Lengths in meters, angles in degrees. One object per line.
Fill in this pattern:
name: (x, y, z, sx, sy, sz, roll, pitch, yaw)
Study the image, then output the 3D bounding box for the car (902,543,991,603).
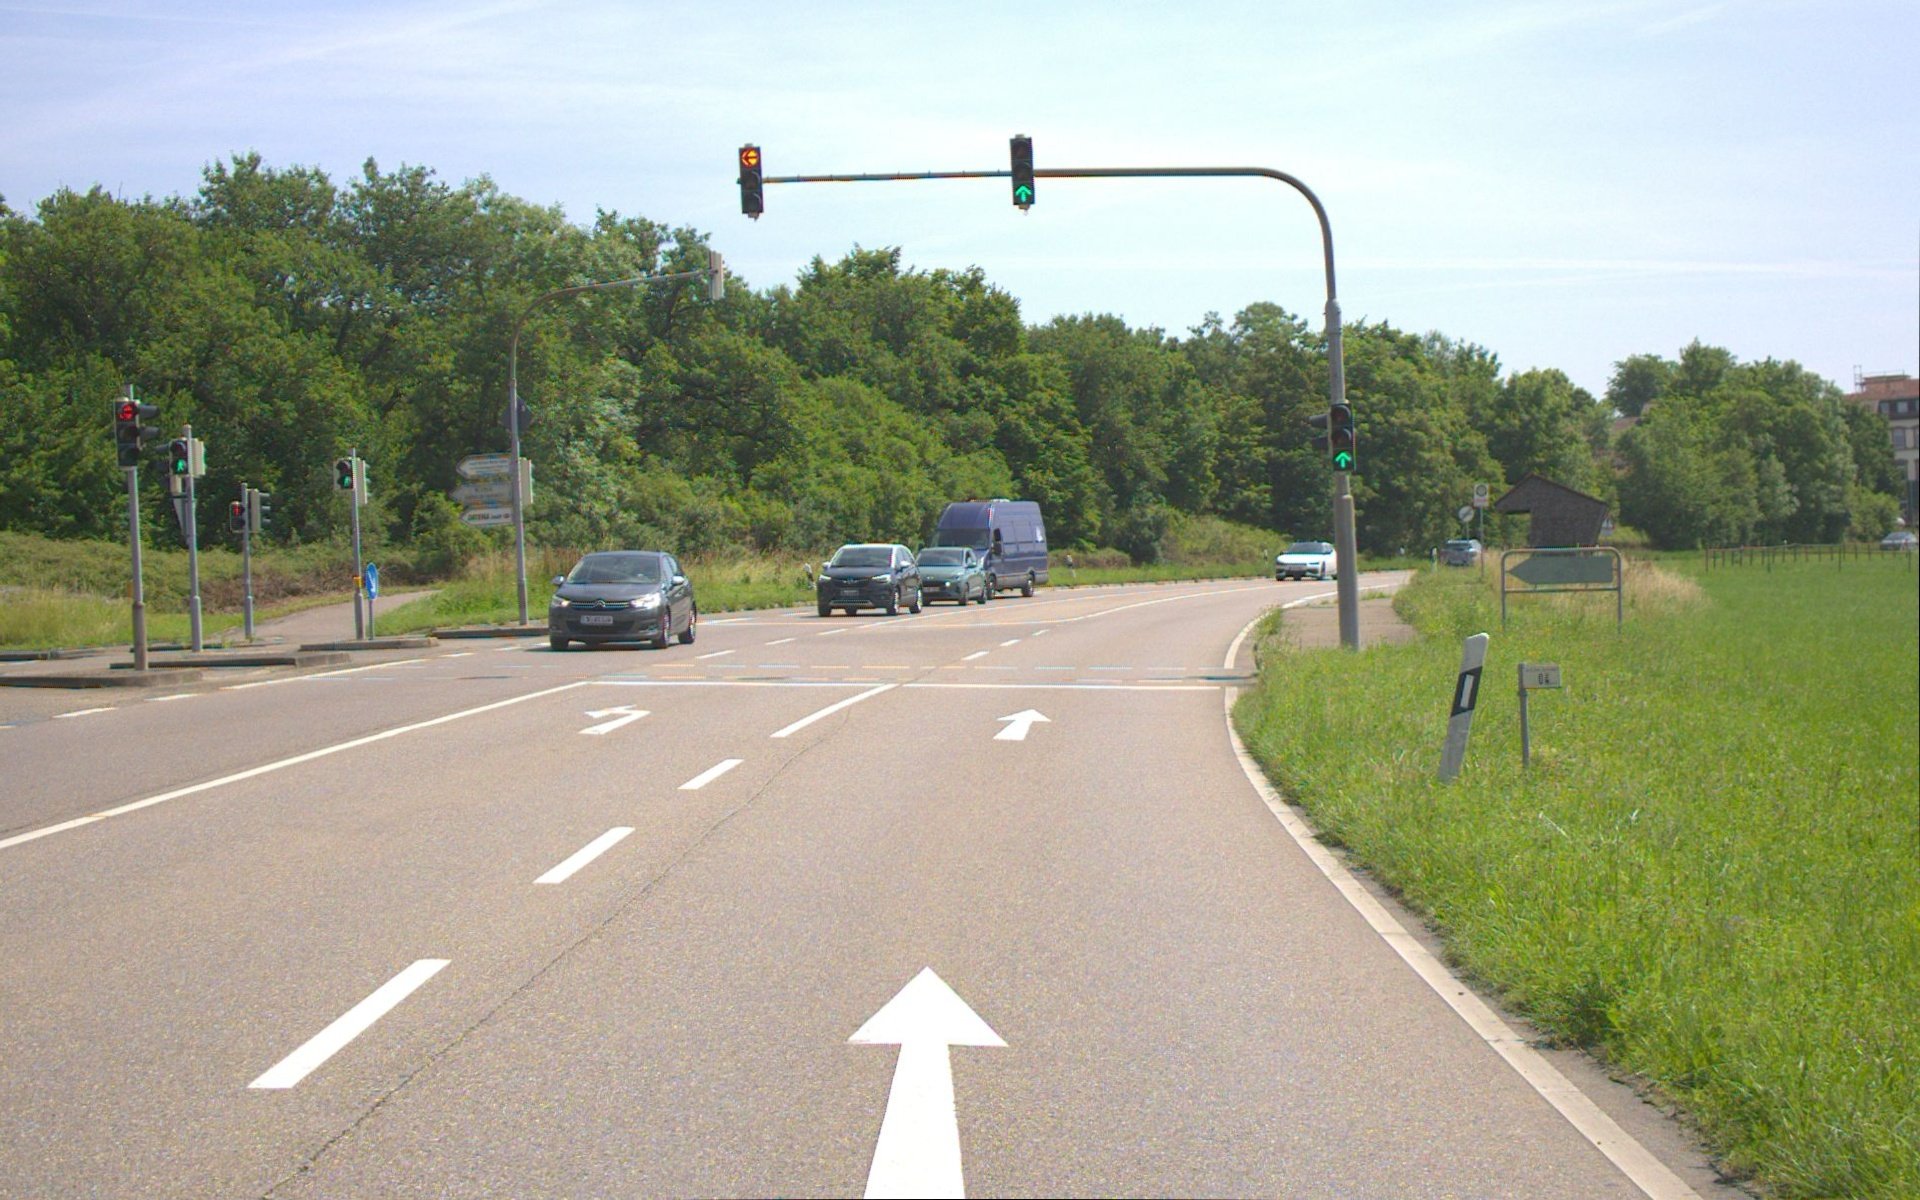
car: (-0.324, -0.698, 87.904, 1.707, 1.478, 3.831, 0, 1, 9)

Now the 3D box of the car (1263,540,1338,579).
car: (13.750, -1.633, 138.419, 1.939, 1.543, 4.623, 0, 1, 20)

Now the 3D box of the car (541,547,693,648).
car: (-5.222, -0.066, 52.815, 1.791, 1.469, 4.310, 0, 1, 2)

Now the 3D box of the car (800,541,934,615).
car: (-2.010, -0.495, 75.462, 1.975, 1.557, 4.187, 0, 1, 13)

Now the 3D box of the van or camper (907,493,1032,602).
van or camper: (0.334, -1.543, 97.445, 2.240, 2.904, 7.244, -1, 2, 10)

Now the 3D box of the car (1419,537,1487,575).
car: (21.209, -1.898, 147.717, 1.996, 1.568, 3.995, 0, 1, 22)
